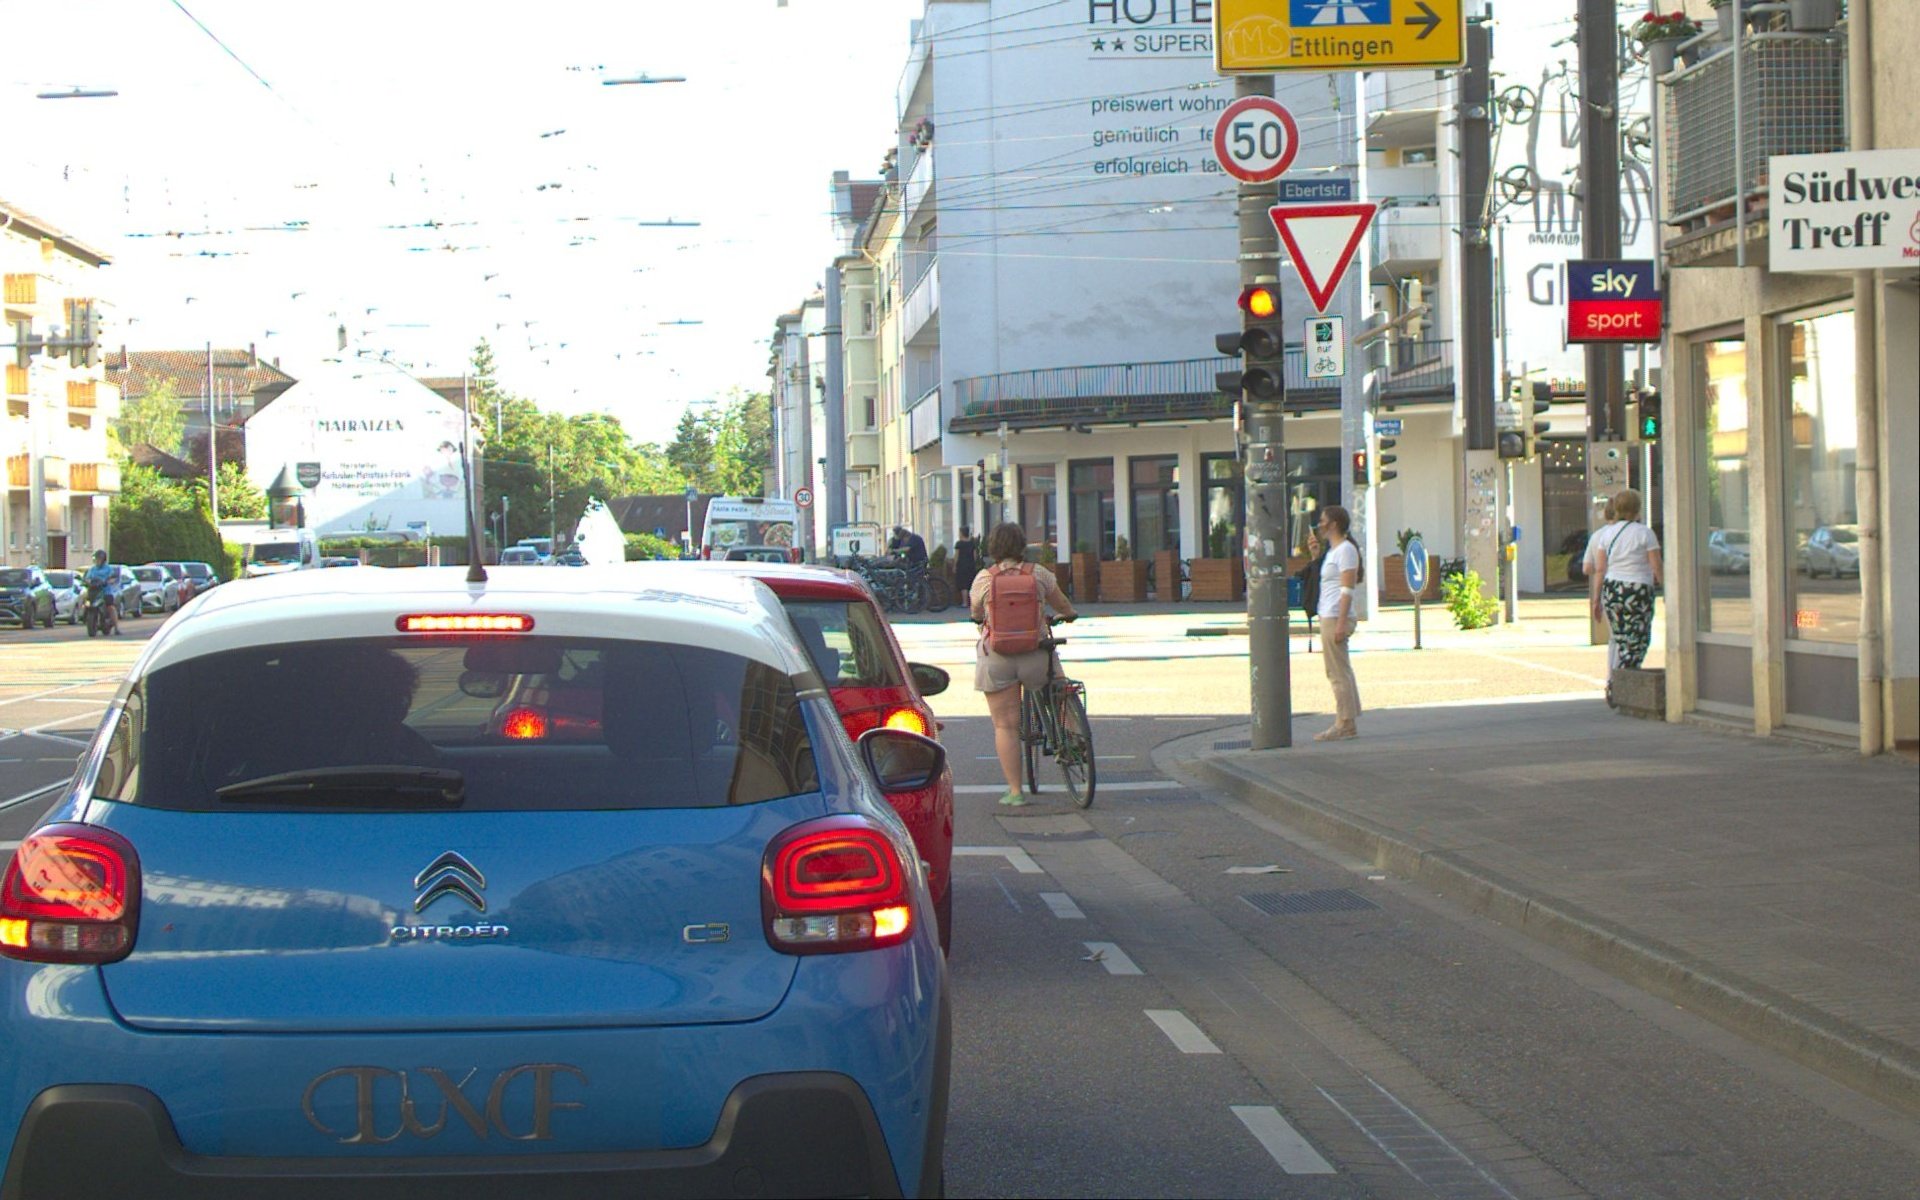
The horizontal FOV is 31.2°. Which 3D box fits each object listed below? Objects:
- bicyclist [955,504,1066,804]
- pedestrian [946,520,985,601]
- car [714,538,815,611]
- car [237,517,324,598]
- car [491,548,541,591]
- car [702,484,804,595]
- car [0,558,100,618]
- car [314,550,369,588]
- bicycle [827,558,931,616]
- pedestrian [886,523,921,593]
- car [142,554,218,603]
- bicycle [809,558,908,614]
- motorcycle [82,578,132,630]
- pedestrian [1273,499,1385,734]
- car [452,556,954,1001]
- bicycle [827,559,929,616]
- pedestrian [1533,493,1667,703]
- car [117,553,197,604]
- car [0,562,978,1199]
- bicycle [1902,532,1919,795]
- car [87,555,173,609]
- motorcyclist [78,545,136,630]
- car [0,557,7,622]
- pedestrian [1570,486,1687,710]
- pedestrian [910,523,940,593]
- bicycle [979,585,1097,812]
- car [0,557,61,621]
[{"bbox_3d":[0.295,0.304,20.602,0.600,1.740,1.084,-1,1,-1],"label":"bicyclist"},{"bbox_3d":[0.115,-0.802,70.135,0.553,1.642,0.538,-2,1,-44],"label":"pedestrian"},{"bbox_3d":[-3.879,-0.524,67.807,1.786,1.354,3.915,-1,1,-6],"label":"car"},{"bbox_3d":[-23.660,-1.517,119.937,2.493,2.703,5.839,-1,1,-7],"label":"car"},{"bbox_3d":[-22.045,-1.525,170.843,2.338,2.032,5.051,-1,1,-6],"label":"car"},{"bbox_3d":[-4.430,-1.287,73.243,2.079,2.262,5.652,0,1,-4],"label":"car"},{"bbox_3d":[-24.303,-0.343,91.949,1.950,1.514,4.001,-1,1,-6],"label":"car"},{"bbox_3d":[-25.976,-1.298,144.570,1.950,1.514,4.001,-1,1,-6],"label":"car"},{"bbox_3d":[-1.554,-0.252,65.817,1.904,1.061,0.642,-1,1,-7],"label":"bicycle"},{"bbox_3d":[-1.150,-0.856,70.260,0.525,1.415,0.546,-1,1,20],"label":"pedestrian"},{"bbox_3d":[-26.067,-0.733,115.001,1.950,1.514,4.001,-1,1,-6],"label":"car"},{"bbox_3d":[-2.023,-0.284,68.315,1.904,1.061,0.642,-1,1,-7],"label":"bicycle"},{"bbox_3d":[-16.691,0.068,67.289,0.751,0.973,2.098,-1,1,-9],"label":"motorcycle"},{"bbox_3d":[2.612,0.106,24.378,0.751,1.629,0.740,-1,1,6],"label":"pedestrian"},{"bbox_3d":[-1.001,0.579,13.587,1.680,1.457,4.001,0,1,-4],"label":"car"},{"bbox_3d":[-1.604,-0.246,67.123,1.904,1.061,0.642,-1,1,-7],"label":"bicycle"},{"bbox_3d":[5.107,-0.025,27.438,0.700,1.642,0.740,-2,1,-36],"label":"pedestrian"},{"bbox_3d":[-25.357,-0.683,108.659,1.950,1.514,4.001,-1,1,-6],"label":"car"},{"bbox_3d":[-0.954,0.672,7.378,1.680,1.457,4.001,0,1,-4],"label":"car"},{"bbox_3d":[4.919,0.313,15.756,0.640,1.260,1.911,-1,1,-1],"label":"bicycle"},{"bbox_3d":[-24.924,-0.551,103.380,1.950,1.514,4.001,-1,1,-6],"label":"car"},{"bbox_3d":[-16.671,-0.257,67.215,0.991,1.625,0.739,-1,1,-9],"label":"motorcyclist"},{"bbox_3d":[-23.318,-0.199,79.227,1.950,1.514,4.001,-1,1,-6],"label":"car"},{"bbox_3d":[5.012,-0.022,25.757,0.738,1.642,0.753,-1,1,19],"label":"pedestrian"},{"bbox_3d":[-0.717,-0.858,70.009,0.467,1.415,0.527,-2,1,-13],"label":"pedestrian"},{"bbox_3d":[0.452,0.560,20.645,0.613,1.260,1.911,-1,1,-1],"label":"bicycle"},{"bbox_3d":[-23.783,-0.274,85.891,1.950,1.514,4.001,-1,1,-6],"label":"car"}]
